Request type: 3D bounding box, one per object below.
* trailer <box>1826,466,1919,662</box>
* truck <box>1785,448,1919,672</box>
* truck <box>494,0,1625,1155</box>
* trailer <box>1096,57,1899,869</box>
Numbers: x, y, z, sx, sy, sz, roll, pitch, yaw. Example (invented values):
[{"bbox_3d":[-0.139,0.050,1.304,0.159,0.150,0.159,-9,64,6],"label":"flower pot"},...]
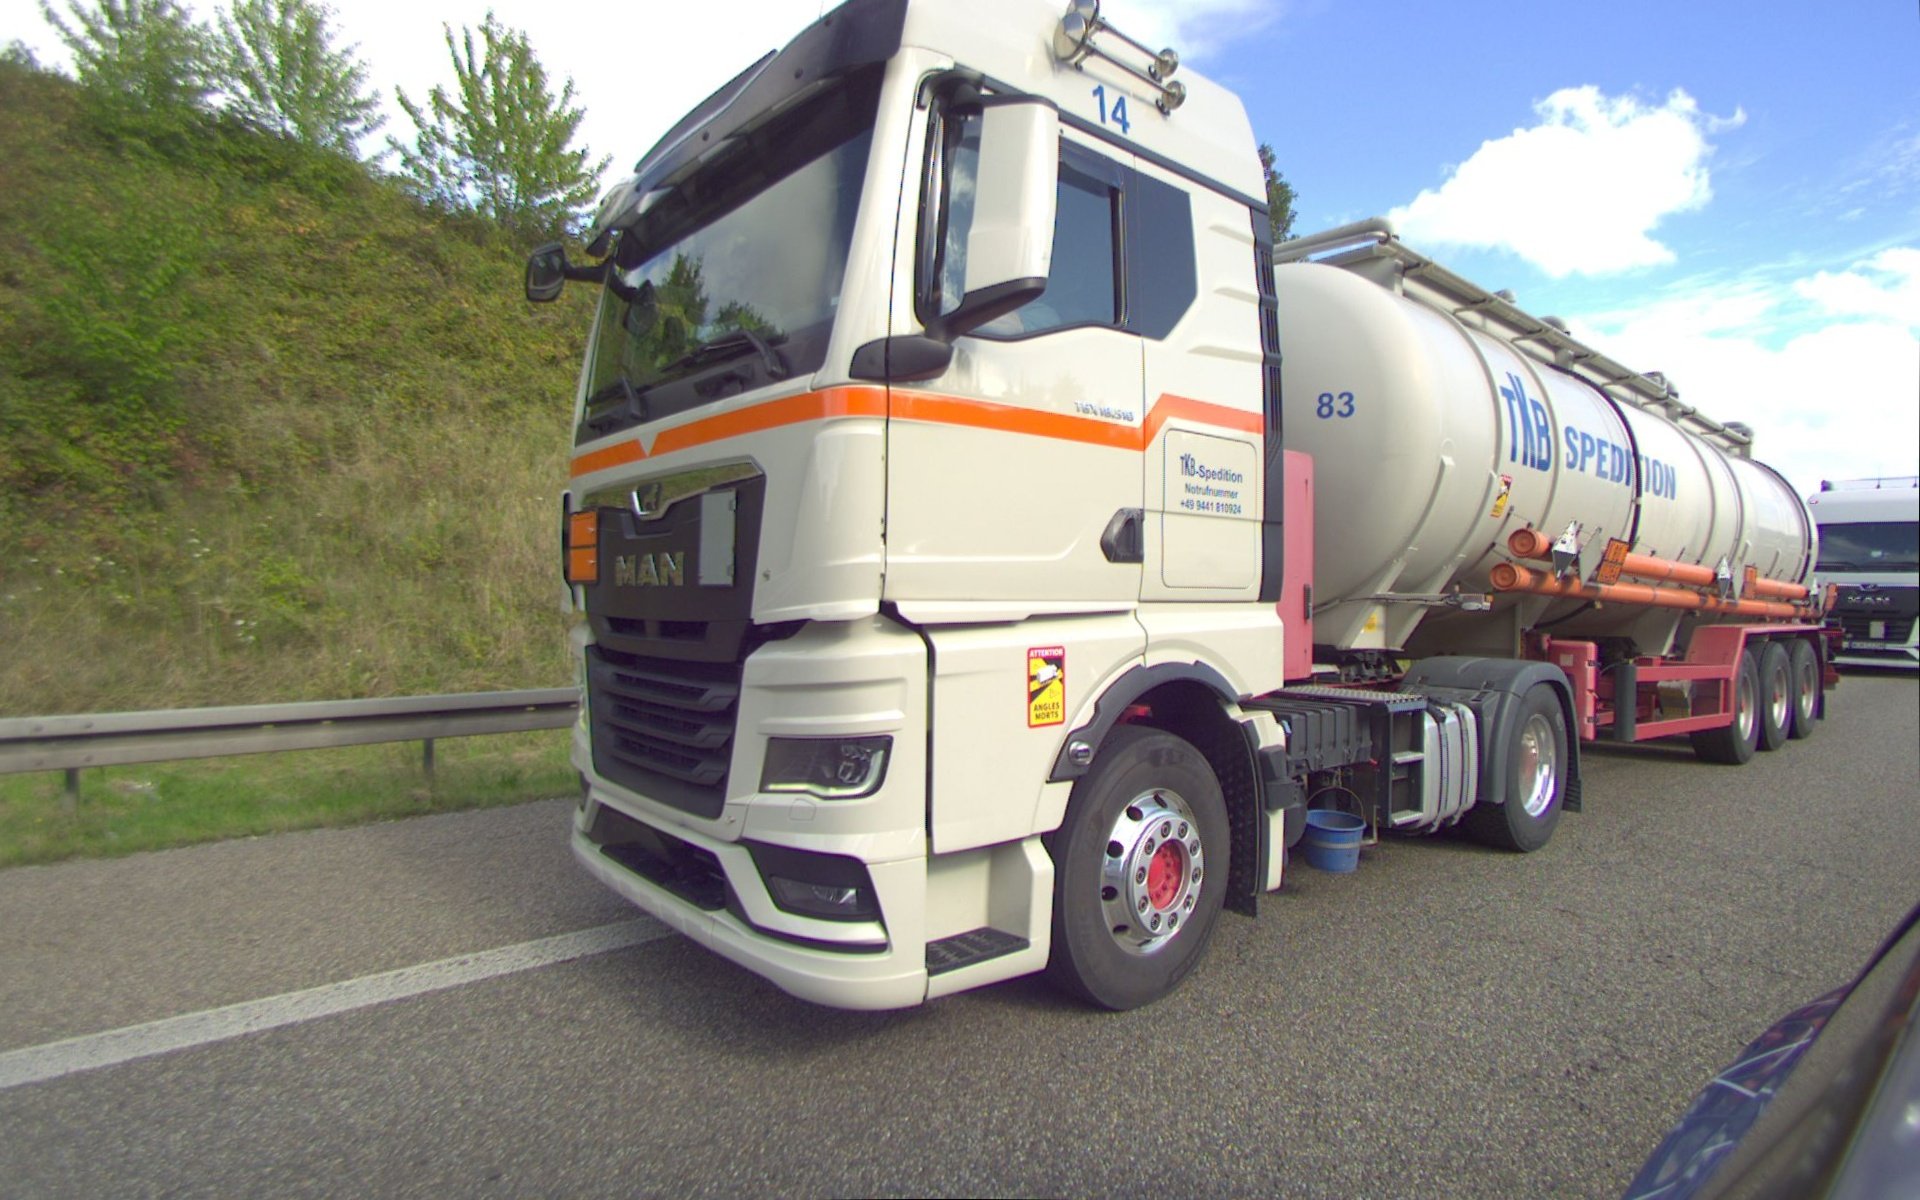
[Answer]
[{"bbox_3d":[25.175,-0.803,25.541,13.132,4.122,2.832,0,1,-40],"label":"trailer"},{"bbox_3d":[19.514,-0.762,20.859,5.605,4.122,2.840,0,1,-39],"label":"truck"},{"bbox_3d":[0.952,-0.706,5.450,5.798,4.094,2.809,0,1,-39],"label":"truck"},{"bbox_3d":[6.091,-0.740,9.676,10.982,4.077,2.804,0,1,-40],"label":"trailer"}]
